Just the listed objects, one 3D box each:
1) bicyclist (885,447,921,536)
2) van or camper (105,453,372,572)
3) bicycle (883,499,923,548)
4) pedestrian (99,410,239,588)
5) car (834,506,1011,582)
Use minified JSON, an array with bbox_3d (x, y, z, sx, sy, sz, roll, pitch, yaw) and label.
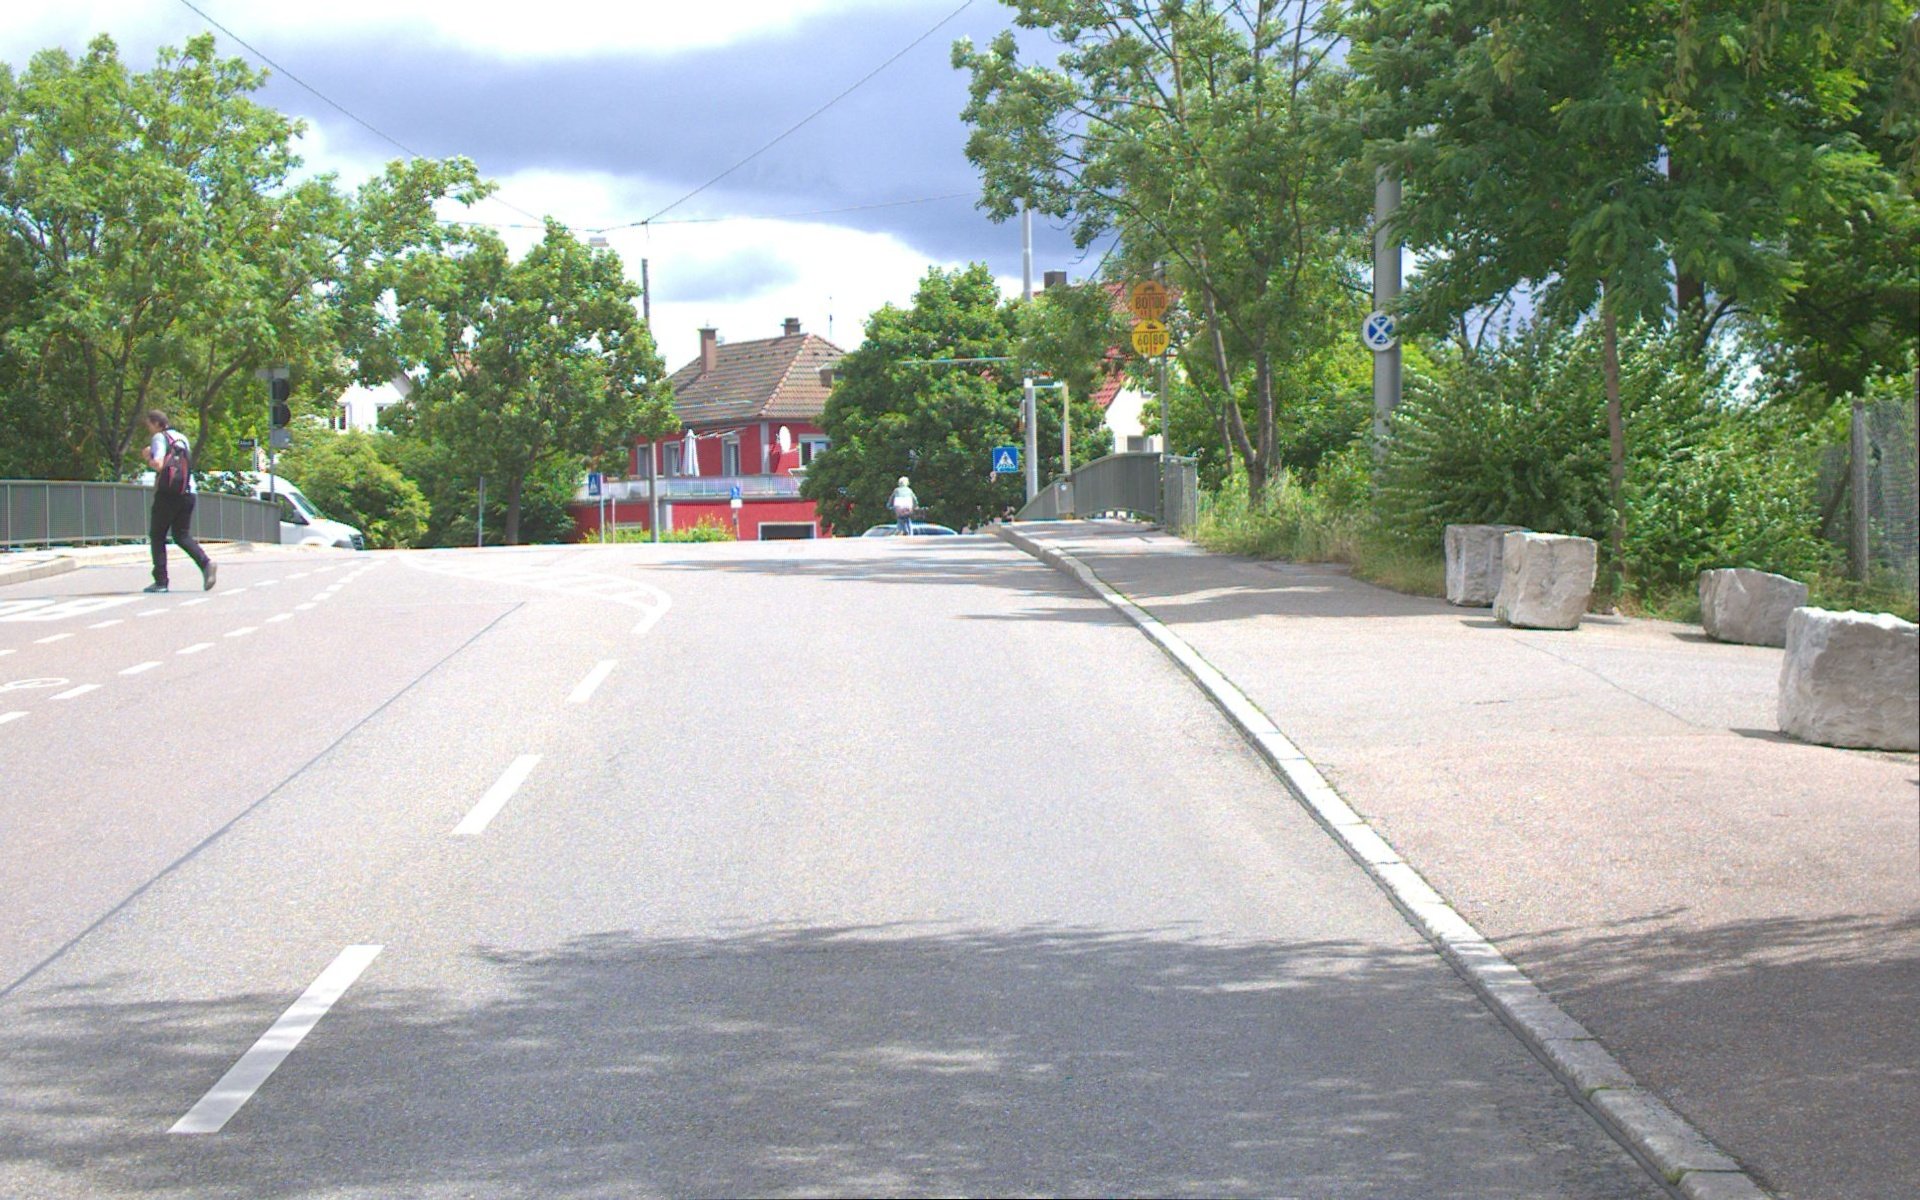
[{"bbox_3d":[-1.229,-2.322,73.891,0.684,1.820,1.080,0,-3,3],"label":"bicyclist"},{"bbox_3d":[-17.360,-2.085,82.922,5.909,2.558,2.193,-2,-2,0],"label":"van or camper"},{"bbox_3d":[-1.225,-1.639,73.925,0.688,0.875,2.101,0,-3,3],"label":"bicycle"},{"bbox_3d":[-8.246,-1.059,35.850,1.035,1.830,0.998,1,2,23],"label":"pedestrian"},{"bbox_3d":[-0.996,-1.511,92.955,4.419,1.825,1.999,3,0,-39],"label":"car"}]
